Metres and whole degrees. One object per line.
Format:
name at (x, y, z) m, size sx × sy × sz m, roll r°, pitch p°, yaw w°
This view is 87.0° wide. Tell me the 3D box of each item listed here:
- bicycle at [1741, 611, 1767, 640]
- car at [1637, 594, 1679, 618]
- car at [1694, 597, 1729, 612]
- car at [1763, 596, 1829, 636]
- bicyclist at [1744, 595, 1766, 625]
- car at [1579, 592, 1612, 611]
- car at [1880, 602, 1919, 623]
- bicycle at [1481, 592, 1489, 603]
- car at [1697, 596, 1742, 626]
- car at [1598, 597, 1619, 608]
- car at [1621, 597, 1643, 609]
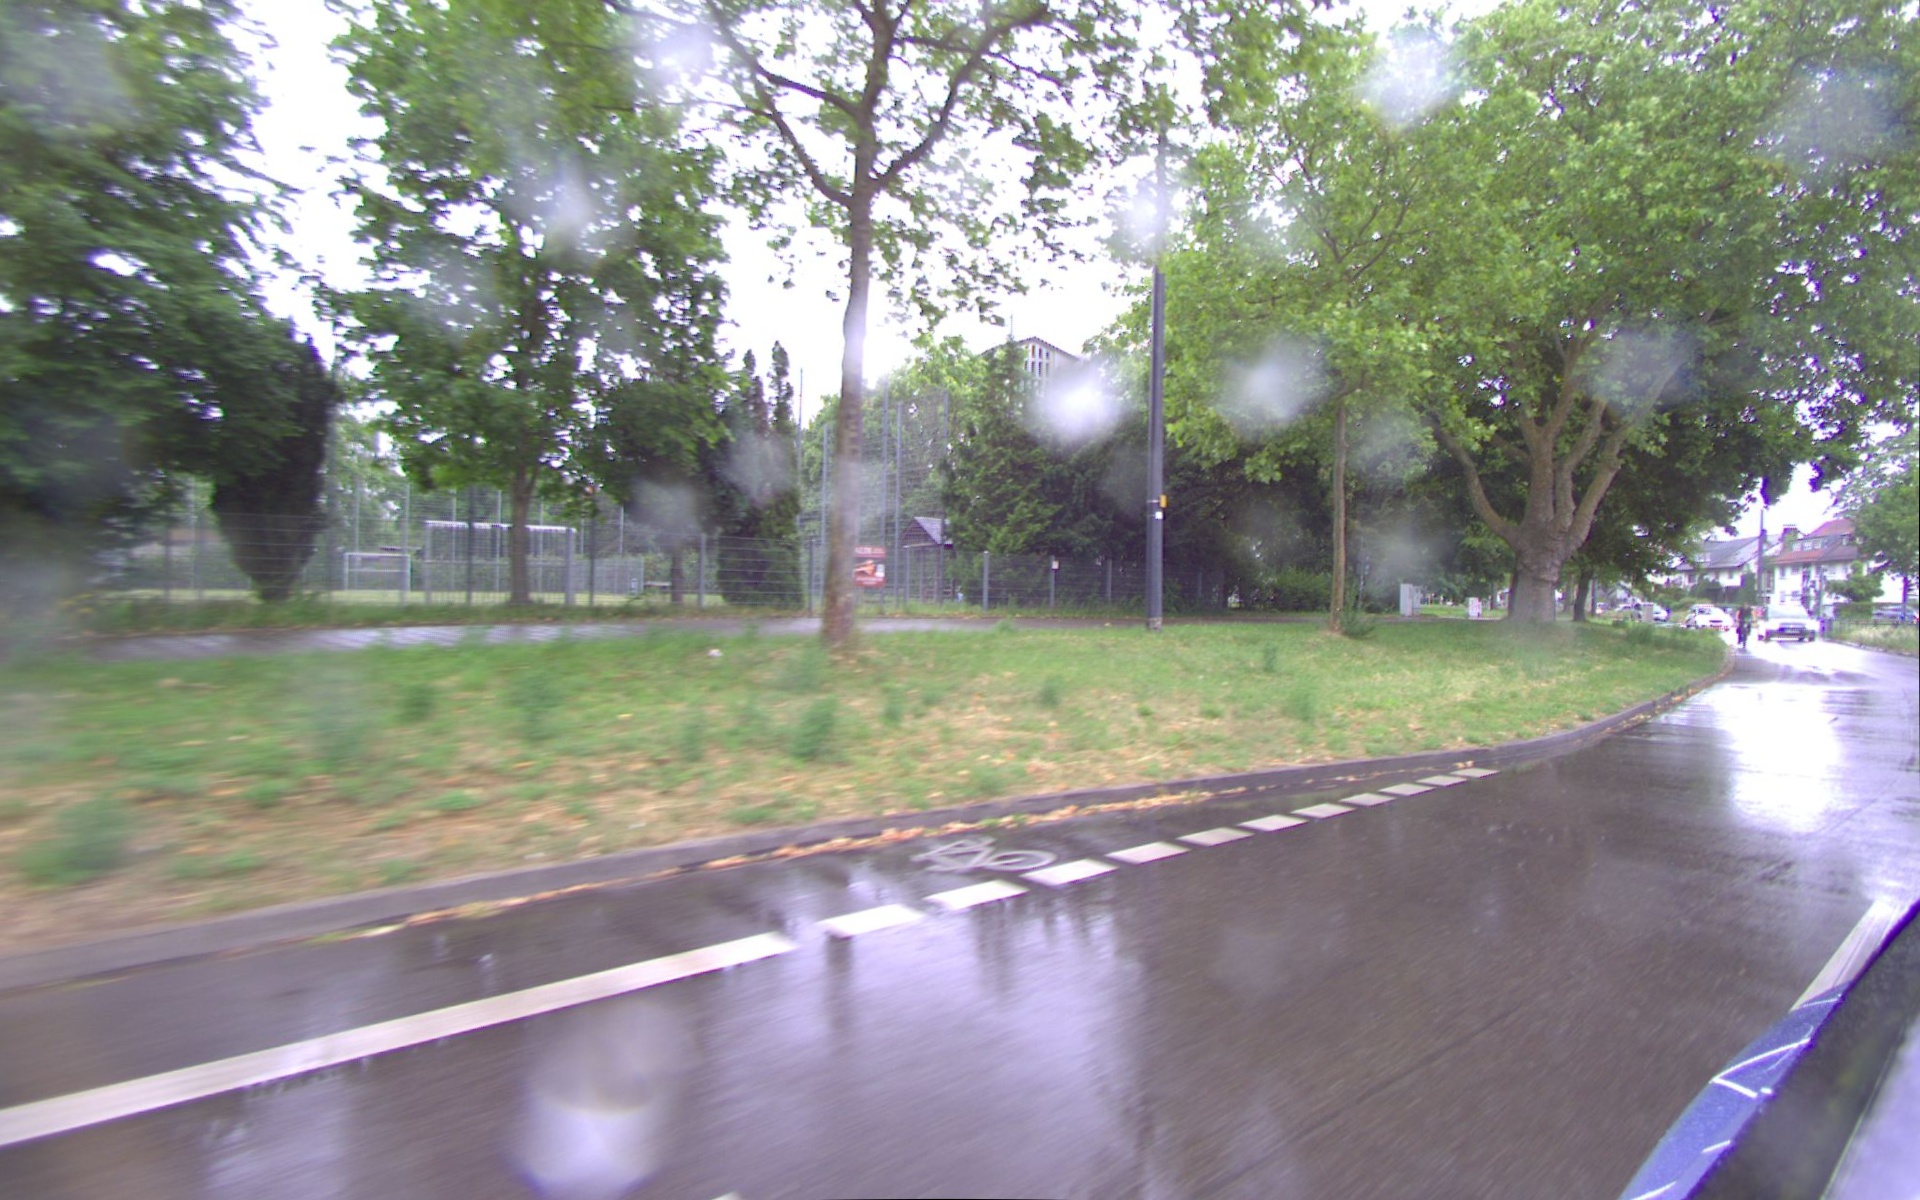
bicycle at (30.296, 0.968, 38.590) m, size 0.657 × 1.026 × 2.223 m, roll 2°, pitch 2°, yaw 41°
car at (54.728, 0.415, 79.418) m, size 1.748 × 1.746 × 3.907 m, roll 2°, pitch 1°, yaw 21°
car at (83.622, 0.444, 112.691) m, size 1.976 × 1.634 × 4.650 m, roll 0°, pitch 0°, yaw 21°
car at (38.217, 0.731, 46.344) m, size 1.755 × 1.747 × 3.889 m, roll -1°, pitch -1°, yaw 32°
bicyclist at (30.316, 0.372, 38.592) m, size 0.620 × 1.098 × 0.615 m, roll 2°, pitch 1°, yaw 41°
car at (60.728, 0.103, 96.752) m, size 1.746 × 1.746 × 3.911 m, roll 2°, pitch 1°, yaw 18°
car at (76.785, 1.016, 81.160) m, size 3.951 × 1.596 × 1.880 m, roll 2°, pitch 0°, yaw 21°
bicycle at (59.780, -0.312, 115.273) m, size 0.707 × 1.156 × 1.952 m, roll 1°, pitch 2°, yaw 30°
car at (46.536, 0.644, 62.087) m, size 1.754 × 1.747 × 3.892 m, roll 0°, pitch 1°, yaw 30°
car at (97.701, 0.345, 152.426) m, size 1.738 × 1.634 × 4.083 m, roll -2°, pitch 0°, yaw 20°
car at (93.948, 0.444, 141.460) m, size 1.697 × 1.548 × 3.578 m, roll -2°, pitch 0°, yaw 20°
